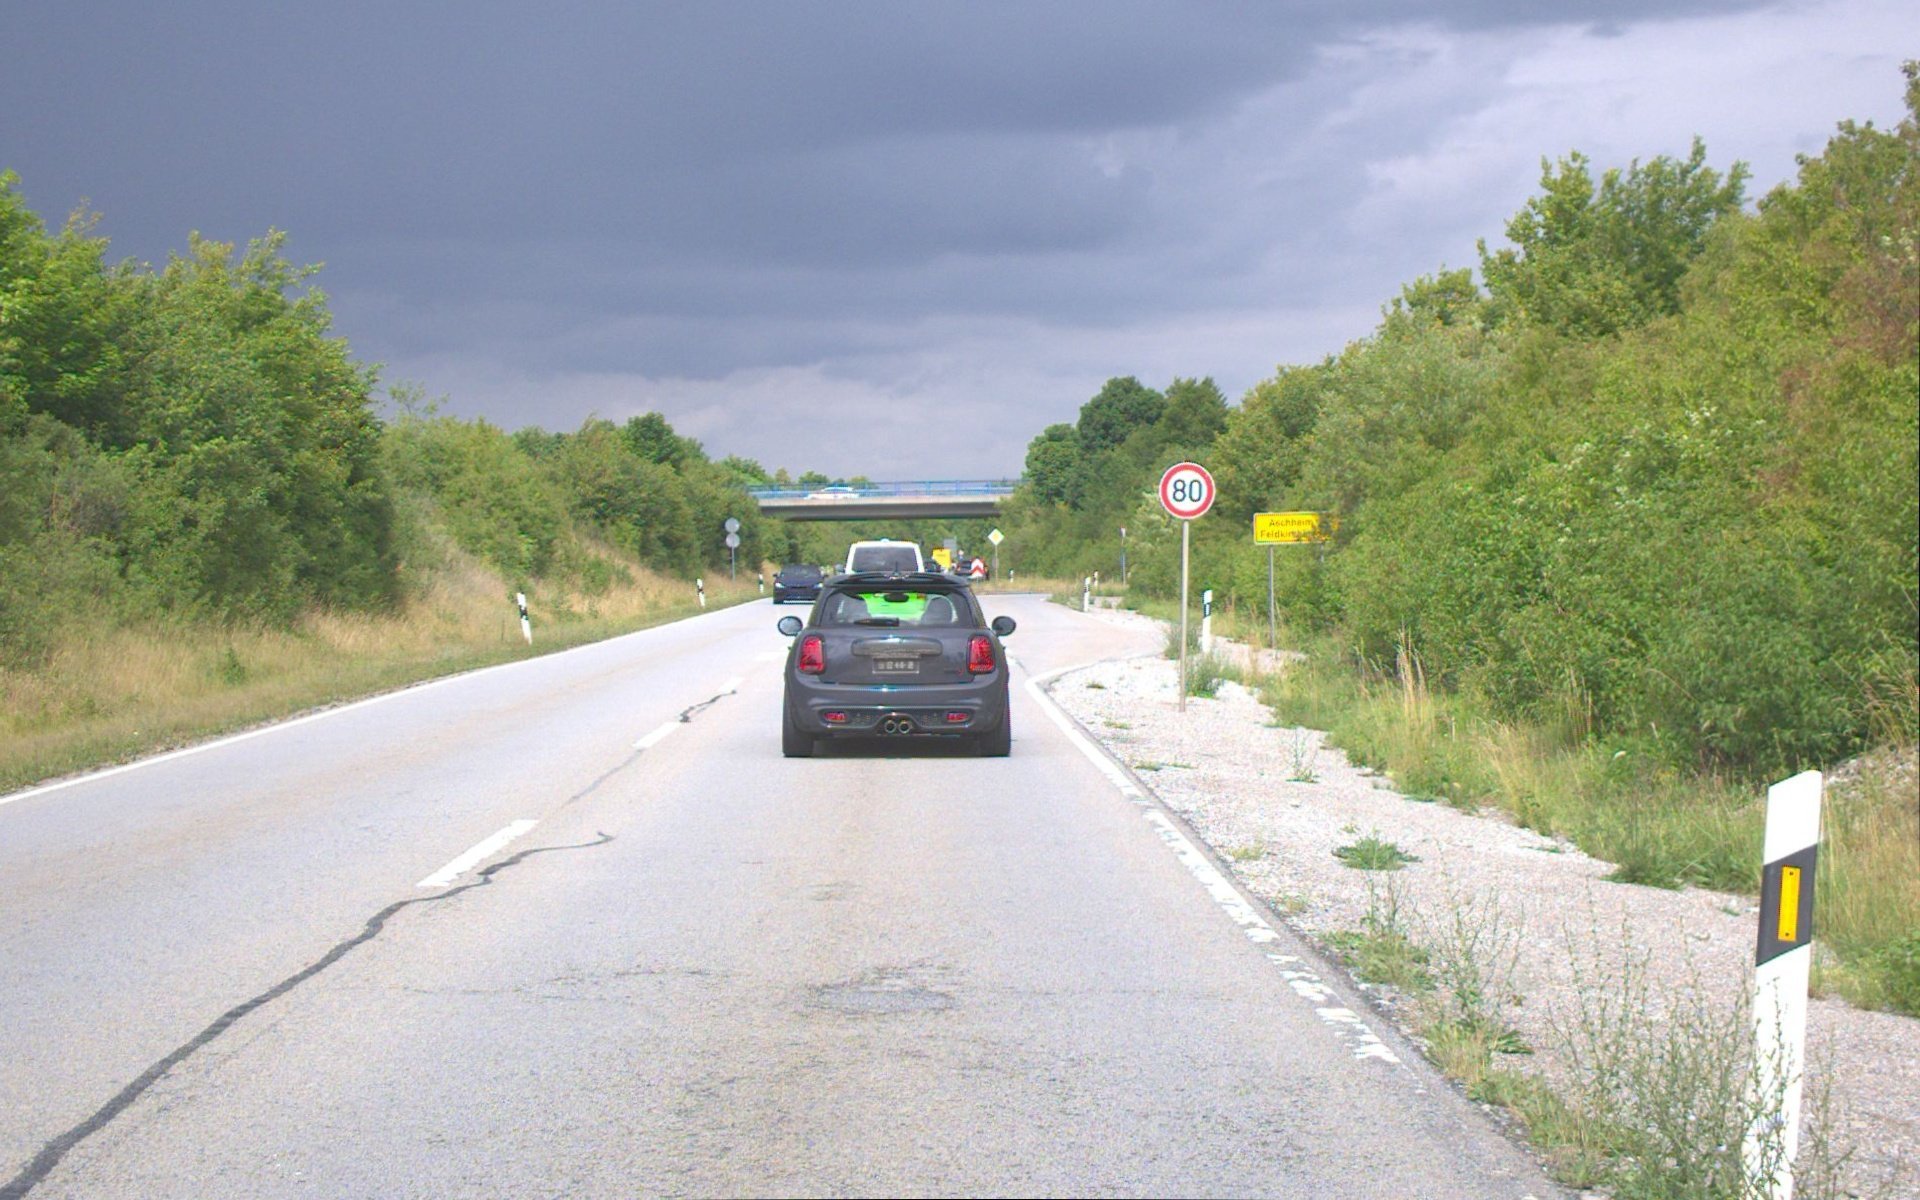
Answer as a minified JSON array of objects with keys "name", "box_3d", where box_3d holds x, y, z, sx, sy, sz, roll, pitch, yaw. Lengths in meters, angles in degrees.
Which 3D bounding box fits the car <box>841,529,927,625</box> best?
[{"name":"car","box_3d":[-1.659,-0.517,75.978,1.819,2.047,4.000,1,1,-1]}]

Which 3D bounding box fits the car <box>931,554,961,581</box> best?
[{"name":"car","box_3d":[-0.913,-2.146,226.081,1.780,1.700,4.000,1,1,-3]}]

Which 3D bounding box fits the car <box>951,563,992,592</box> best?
[{"name":"car","box_3d":[0.633,-1.245,188.116,1.993,1.547,4.001,1,1,-3]}]

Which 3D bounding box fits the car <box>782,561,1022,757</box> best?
[{"name":"car","box_3d":[-0.463,0.414,27.437,1.756,1.422,4.000,1,1,-1]}]

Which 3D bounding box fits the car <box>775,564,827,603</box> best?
[{"name":"car","box_3d":[-5.592,-0.599,121.145,1.701,1.326,4.000,-1,1,-1]}]
